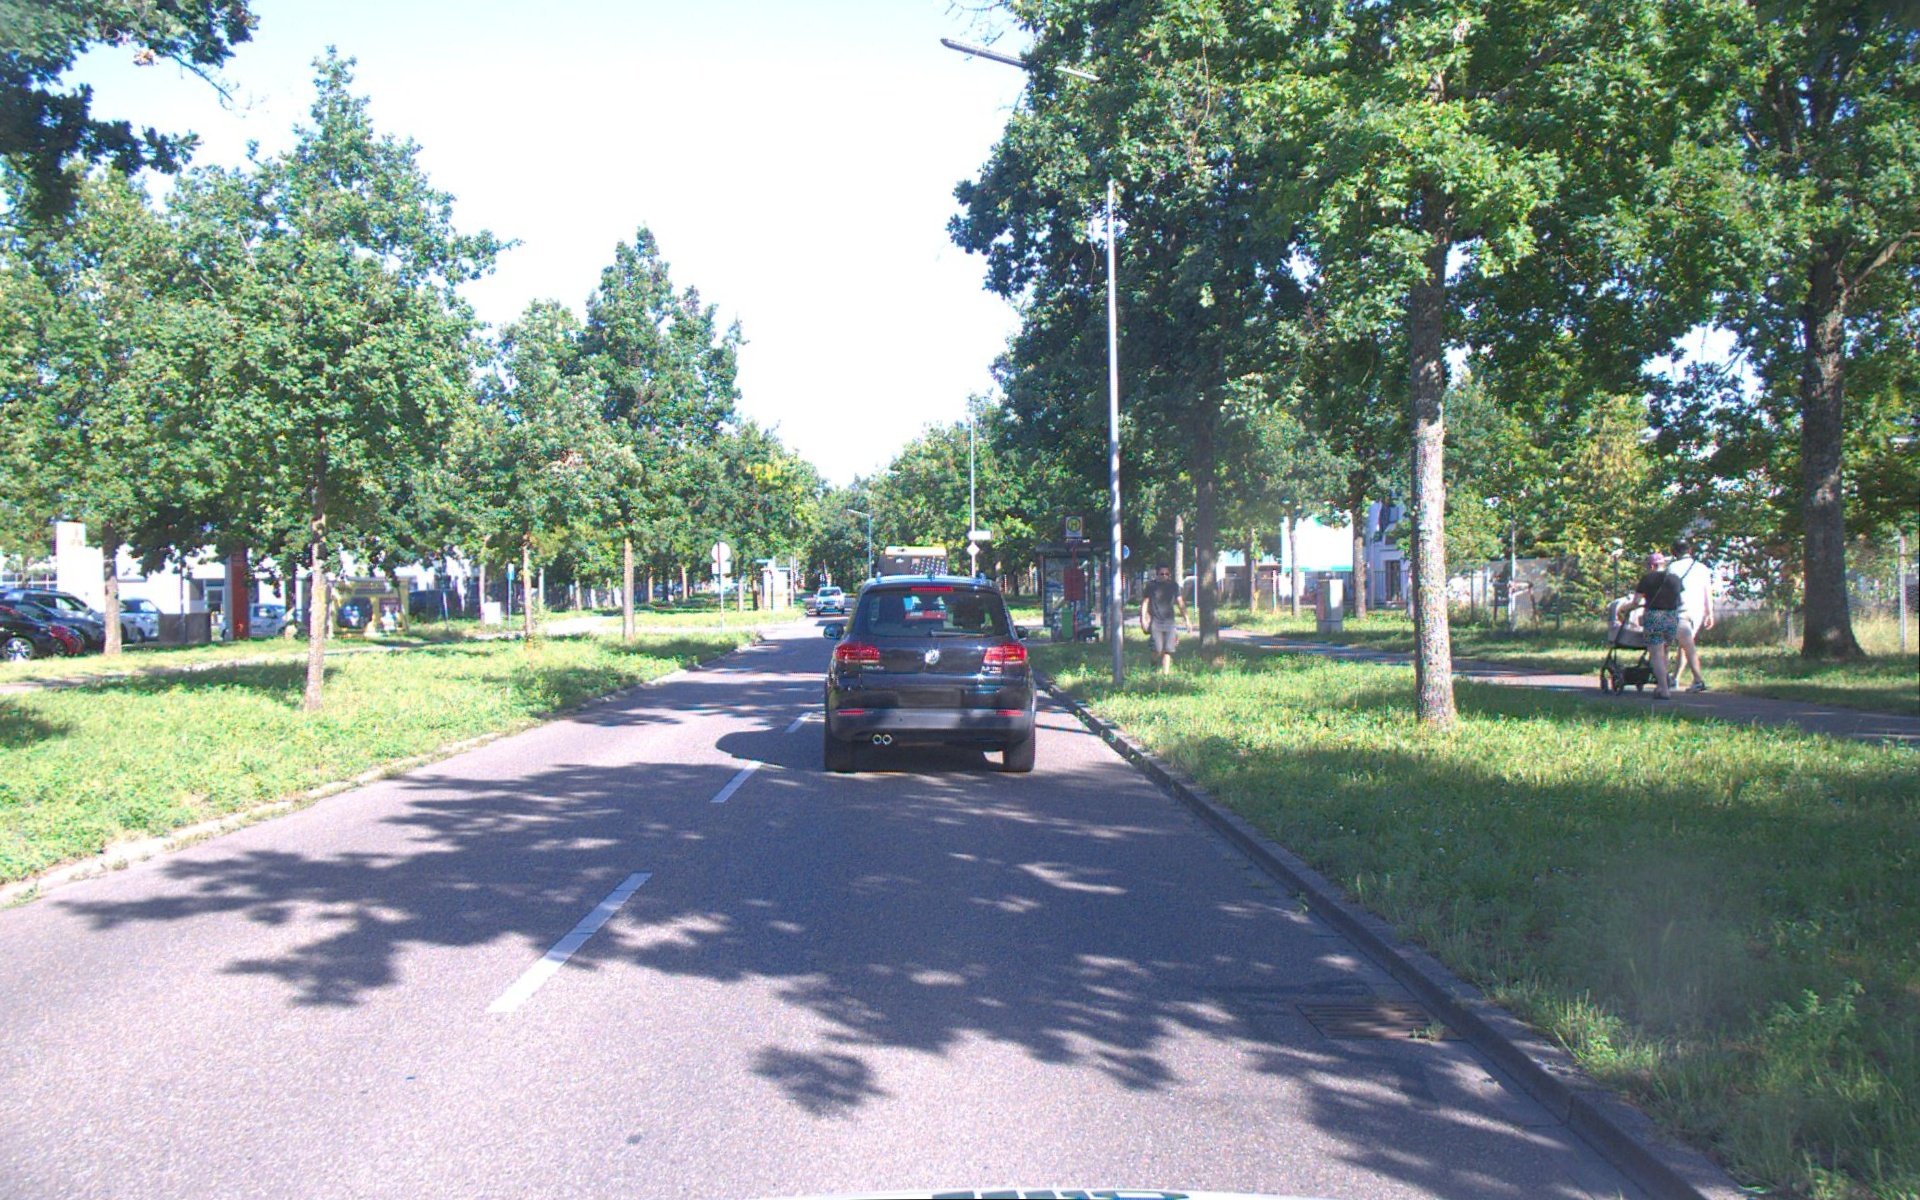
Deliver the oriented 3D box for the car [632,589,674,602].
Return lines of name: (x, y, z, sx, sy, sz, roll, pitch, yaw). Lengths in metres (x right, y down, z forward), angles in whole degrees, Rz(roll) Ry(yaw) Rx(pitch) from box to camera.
car: (-33.046, -0.460, 178.155, 4.112, 1.344, 1.941, -1, 1, 0)

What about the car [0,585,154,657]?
car: (-27.781, 0.620, 51.088, 4.820, 2.049, 1.968, -2, 1, -43)

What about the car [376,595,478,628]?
car: (-26.556, 0.553, 82.509, 4.406, 1.505, 1.942, -1, 0, 3)

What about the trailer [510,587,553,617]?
trailer: (-28.827, 0.122, 111.392, 2.060, 1.948, 3.738, -1, 1, -3)

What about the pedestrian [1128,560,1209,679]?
pedestrian: (3.040, 0.278, 24.199, 0.999, 1.680, 1.099, -1, 0, -2)

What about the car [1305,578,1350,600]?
car: (24.111, -0.709, 108.728, 1.731, 1.408, 3.762, -1, 1, -7)

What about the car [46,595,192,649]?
car: (-32.343, 0.840, 63.635, 4.903, 1.939, 1.943, -1, 0, 15)

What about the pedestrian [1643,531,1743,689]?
pedestrian: (8.641, 0.115, 19.522, 0.711, 1.785, 0.867, -3, 0, -2)

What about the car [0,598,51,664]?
car: (-24.385, 0.786, 39.738, 4.137, 1.565, 1.866, -2, 1, -43)

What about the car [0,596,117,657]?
car: (-25.980, 0.743, 46.227, 4.119, 1.589, 1.977, -1, 1, -33)

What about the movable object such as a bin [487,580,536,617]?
movable object such as a bin: (-28.225, -0.101, 104.284, 2.060, 2.255, 4.458, -1, 1, -3)

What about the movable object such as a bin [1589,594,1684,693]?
movable object such as a bin: (7.953, 0.498, 19.476, 0.711, 1.100, 0.867, -3, 0, -2)

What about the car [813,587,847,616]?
car: (-7.274, 0.066, 92.212, 1.710, 1.490, 4.421, -2, 1, -6)

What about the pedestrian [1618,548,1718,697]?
pedestrian: (7.953, 0.243, 18.610, 0.711, 1.631, 0.867, -1, 0, -2)

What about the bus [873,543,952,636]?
bus: (-2.099, -0.455, 68.804, 2.710, 3.517, 11.201, -1, 1, -4)

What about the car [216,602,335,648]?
car: (-25.815, 0.943, 62.430, 3.662, 1.646, 1.965, -1, 0, 12)

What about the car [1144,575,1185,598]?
car: (16.004, -1.074, 129.752, 2.142, 1.774, 4.635, -1, 1, -6)

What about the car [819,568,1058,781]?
car: (-0.218, 0.566, 15.408, 1.897, 1.685, 4.426, 1, 1, -1)

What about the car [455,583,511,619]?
car: (-28.274, 0.024, 98.264, 1.996, 2.023, 5.801, -1, 0, -4)

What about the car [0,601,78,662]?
car: (-25.349, 0.837, 42.825, 4.132, 1.517, 1.971, -2, 1, -41)
